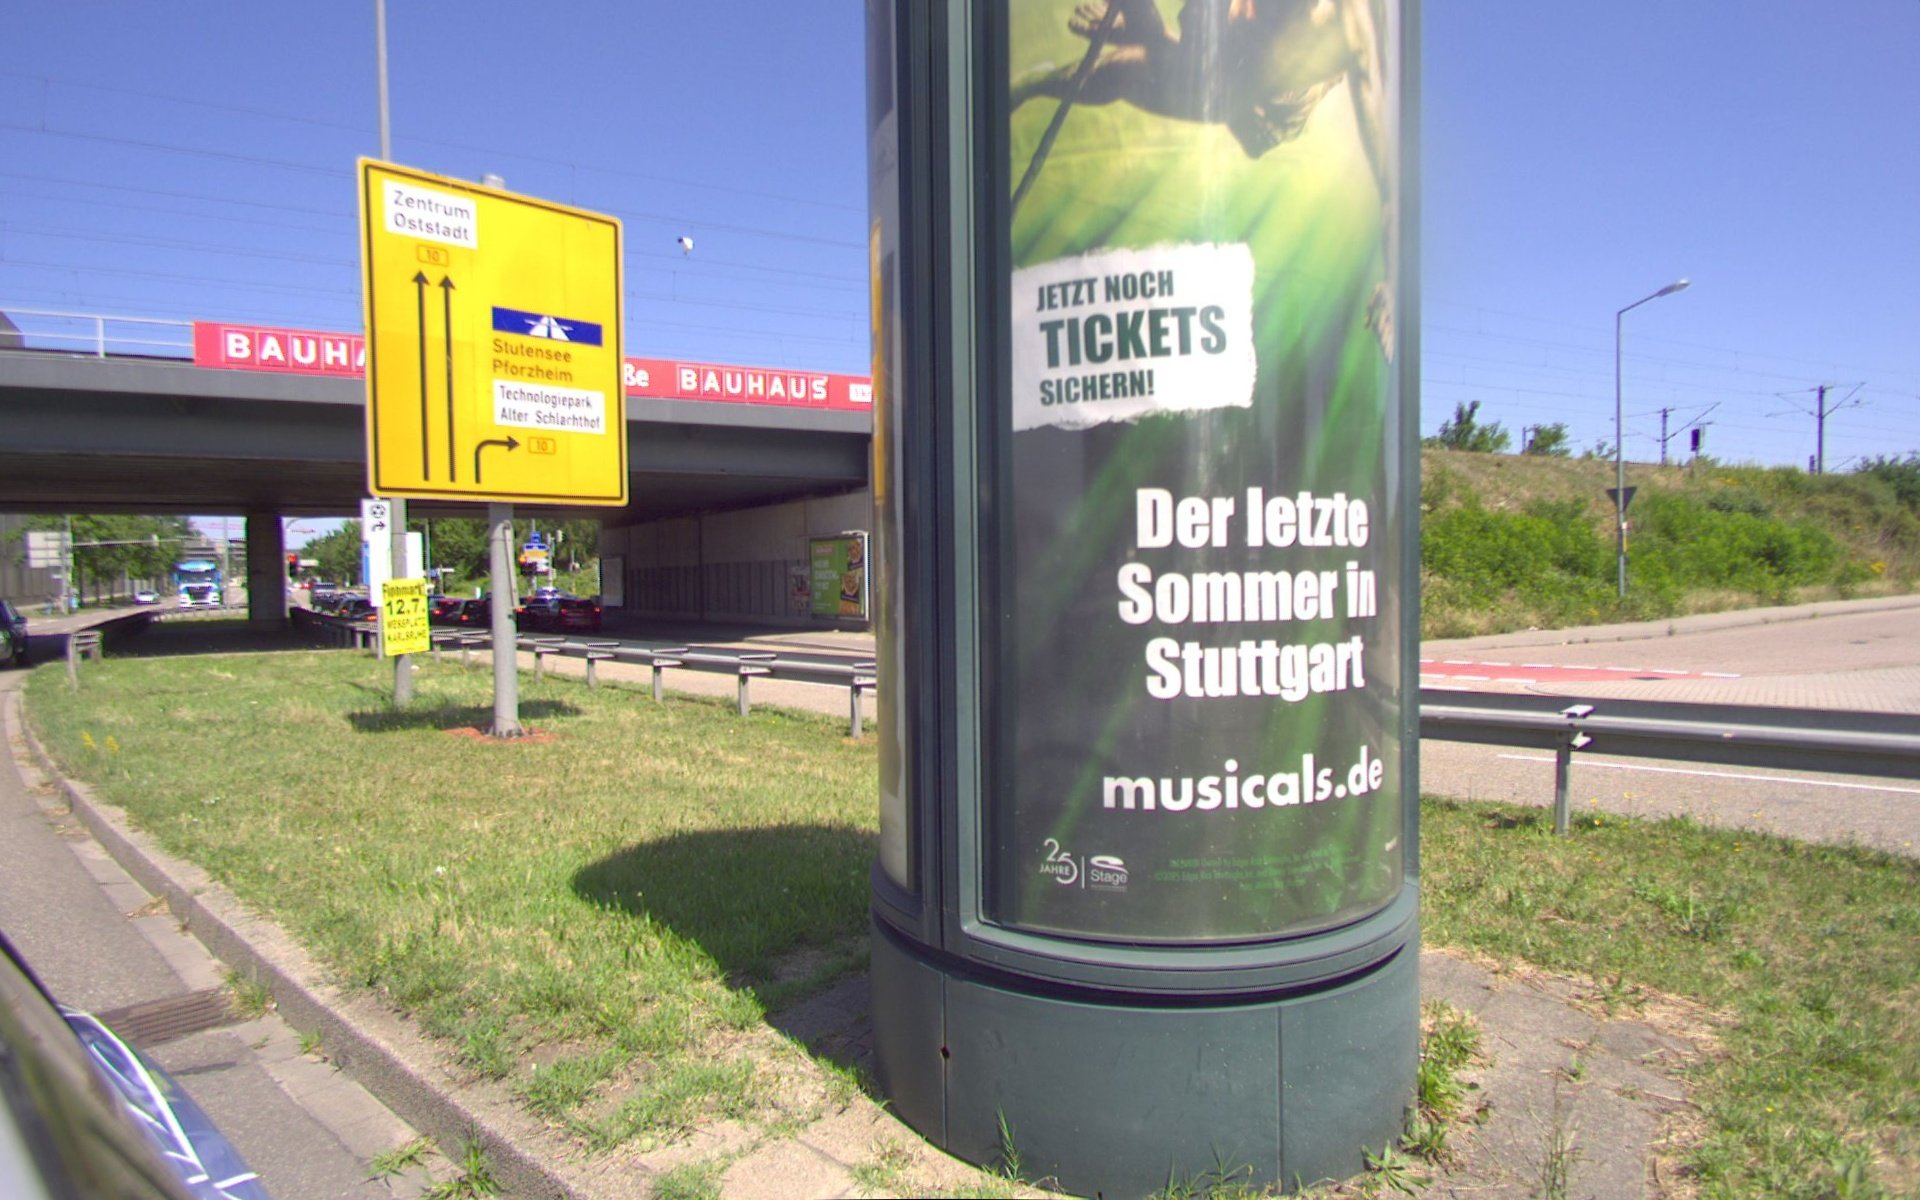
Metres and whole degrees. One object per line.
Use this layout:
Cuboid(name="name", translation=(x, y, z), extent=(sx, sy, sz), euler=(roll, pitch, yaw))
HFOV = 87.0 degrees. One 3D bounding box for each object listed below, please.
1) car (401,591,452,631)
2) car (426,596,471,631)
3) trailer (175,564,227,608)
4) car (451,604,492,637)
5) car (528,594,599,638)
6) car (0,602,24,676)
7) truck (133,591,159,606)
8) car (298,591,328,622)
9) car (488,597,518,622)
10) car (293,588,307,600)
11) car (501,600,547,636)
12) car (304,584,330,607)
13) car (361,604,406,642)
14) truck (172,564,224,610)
Cuboid(name="car", translation=(-26.563, 0.516, 50.316), extent=(1.876, 1.874, 4.011), euler=(-1, 0, -33))
Cuboid(name="car", translation=(-22.599, 0.569, 44.682), extent=(1.593, 1.487, 3.443), euler=(-1, 0, -29))
Cuboid(name="trailer", translation=(-64.252, -1.110, 85.895), extent=(2.916, 3.398, 13.930), euler=(-1, 0, -34))
Cuboid(name="car", translation=(-19.193, 0.786, 39.730), extent=(1.250, 1.194, 2.786), euler=(-1, 0, -29))
Cuboid(name="car", translation=(-16.181, 0.601, 41.222), extent=(1.748, 1.680, 4.025), euler=(-1, 0, -35))
Cuboid(name="car", translation=(-23.714, 0.911, 24.259), extent=(1.819, 1.708, 3.704), euler=(-1, 0, -42))
Cuboid(name="truck", translation=(-81.900, -0.149, 101.897), extent=(1.703, 1.513, 4.010), euler=(-1, 0, -34))
Cuboid(name="car", translation=(-43.966, 0.455, 68.779), extent=(1.651, 2.029, 4.012), euler=(-1, 0, -32))
Cuboid(name="car", translation=(-23.448, 0.475, 51.914), extent=(1.166, 1.257, 2.701), euler=(-1, 0, -29))
Cuboid(name="car", translation=(-120.476, -1.095, 184.651), extent=(1.967, 2.029, 4.010), euler=(-1, 0, -35))
Cuboid(name="car", translation=(-19.741, 0.773, 45.776), extent=(1.548, 1.514, 3.418), euler=(-1, 0, -29))
Cuboid(name="car", translation=(-58.066, -0.404, 91.448), extent=(1.966, 2.029, 4.012), euler=(-1, 0, -32))
Cuboid(name="car", translation=(-21.237, 0.814, 37.281), extent=(1.389, 1.329, 3.271), euler=(-1, 0, -30))
Cuboid(name="truck", translation=(-60.513, -1.008, 80.520), extent=(2.972, 3.443, 6.583), euler=(-1, 0, -34))
